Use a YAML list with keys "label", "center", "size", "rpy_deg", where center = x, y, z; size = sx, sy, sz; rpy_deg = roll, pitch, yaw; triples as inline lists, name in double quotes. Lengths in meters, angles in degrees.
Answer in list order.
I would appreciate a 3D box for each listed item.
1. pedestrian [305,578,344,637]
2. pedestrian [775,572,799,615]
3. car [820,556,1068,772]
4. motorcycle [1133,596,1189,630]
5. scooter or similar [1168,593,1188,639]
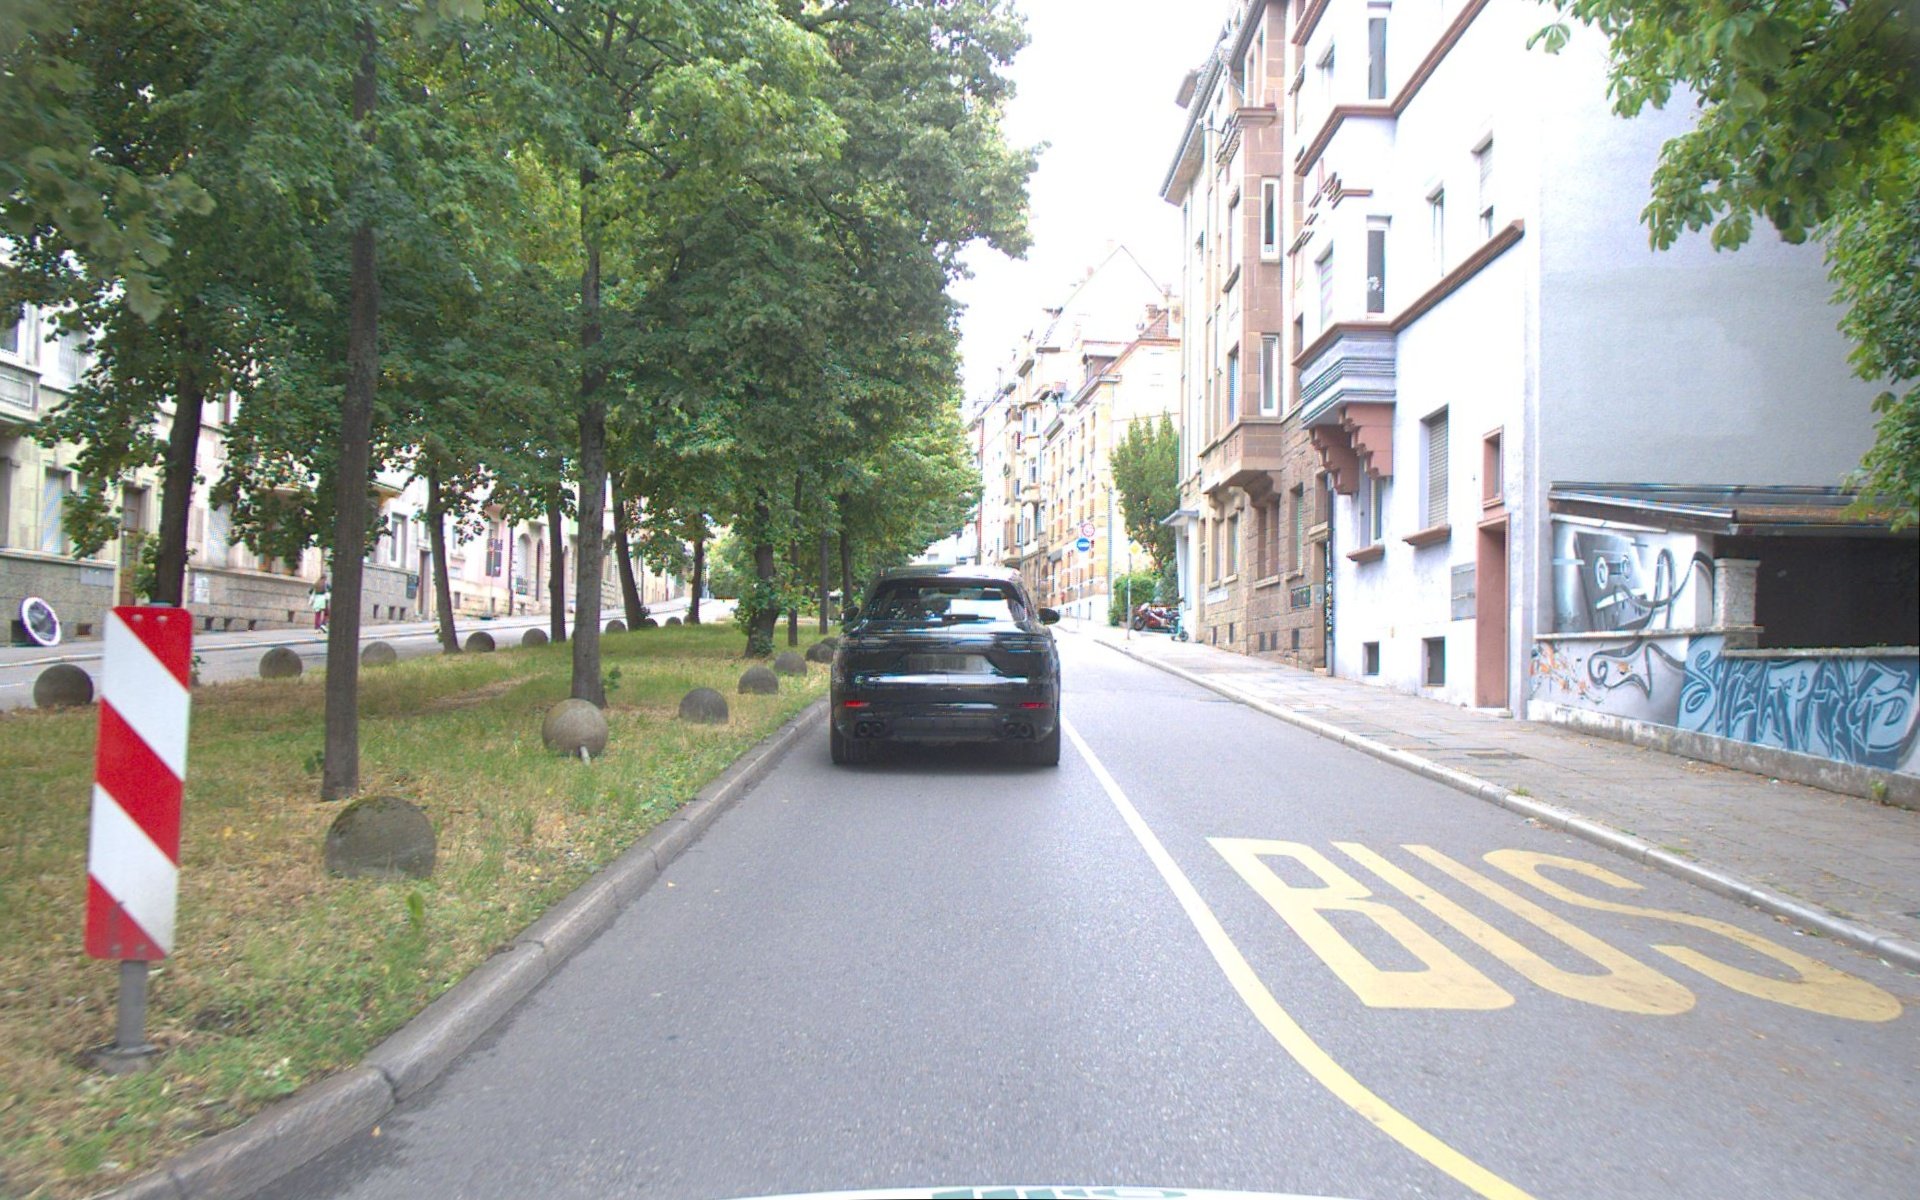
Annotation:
- label: "pedestrian"
  center: [-16.272, 0.189, 42.364]
  size: [0.684, 1.486, 0.704]
  rpy_deg: [1, 0, 1]
- label: "pedestrian"
  center: [-7.272, -0.275, 69.454]
  size: [0.816, 1.742, 1.122]
  rpy_deg: [-2, -2, 0]
- label: "car"
  center: [-0.187, 0.492, 15.018]
  size: [1.953, 1.694, 3.999]
  rpy_deg: [0, 0, -2]
- label: "motorcycle"
  center: [7.997, 0.517, 65.887]
  size: [2.015, 1.290, 1.009]
  rpy_deg: [2, 0, -5]
- label: "scooter or similar"
  center: [6.258, 0.453, 47.535]
  size: [0.401, 1.231, 1.145]
  rpy_deg: [-2, 3, 0]
